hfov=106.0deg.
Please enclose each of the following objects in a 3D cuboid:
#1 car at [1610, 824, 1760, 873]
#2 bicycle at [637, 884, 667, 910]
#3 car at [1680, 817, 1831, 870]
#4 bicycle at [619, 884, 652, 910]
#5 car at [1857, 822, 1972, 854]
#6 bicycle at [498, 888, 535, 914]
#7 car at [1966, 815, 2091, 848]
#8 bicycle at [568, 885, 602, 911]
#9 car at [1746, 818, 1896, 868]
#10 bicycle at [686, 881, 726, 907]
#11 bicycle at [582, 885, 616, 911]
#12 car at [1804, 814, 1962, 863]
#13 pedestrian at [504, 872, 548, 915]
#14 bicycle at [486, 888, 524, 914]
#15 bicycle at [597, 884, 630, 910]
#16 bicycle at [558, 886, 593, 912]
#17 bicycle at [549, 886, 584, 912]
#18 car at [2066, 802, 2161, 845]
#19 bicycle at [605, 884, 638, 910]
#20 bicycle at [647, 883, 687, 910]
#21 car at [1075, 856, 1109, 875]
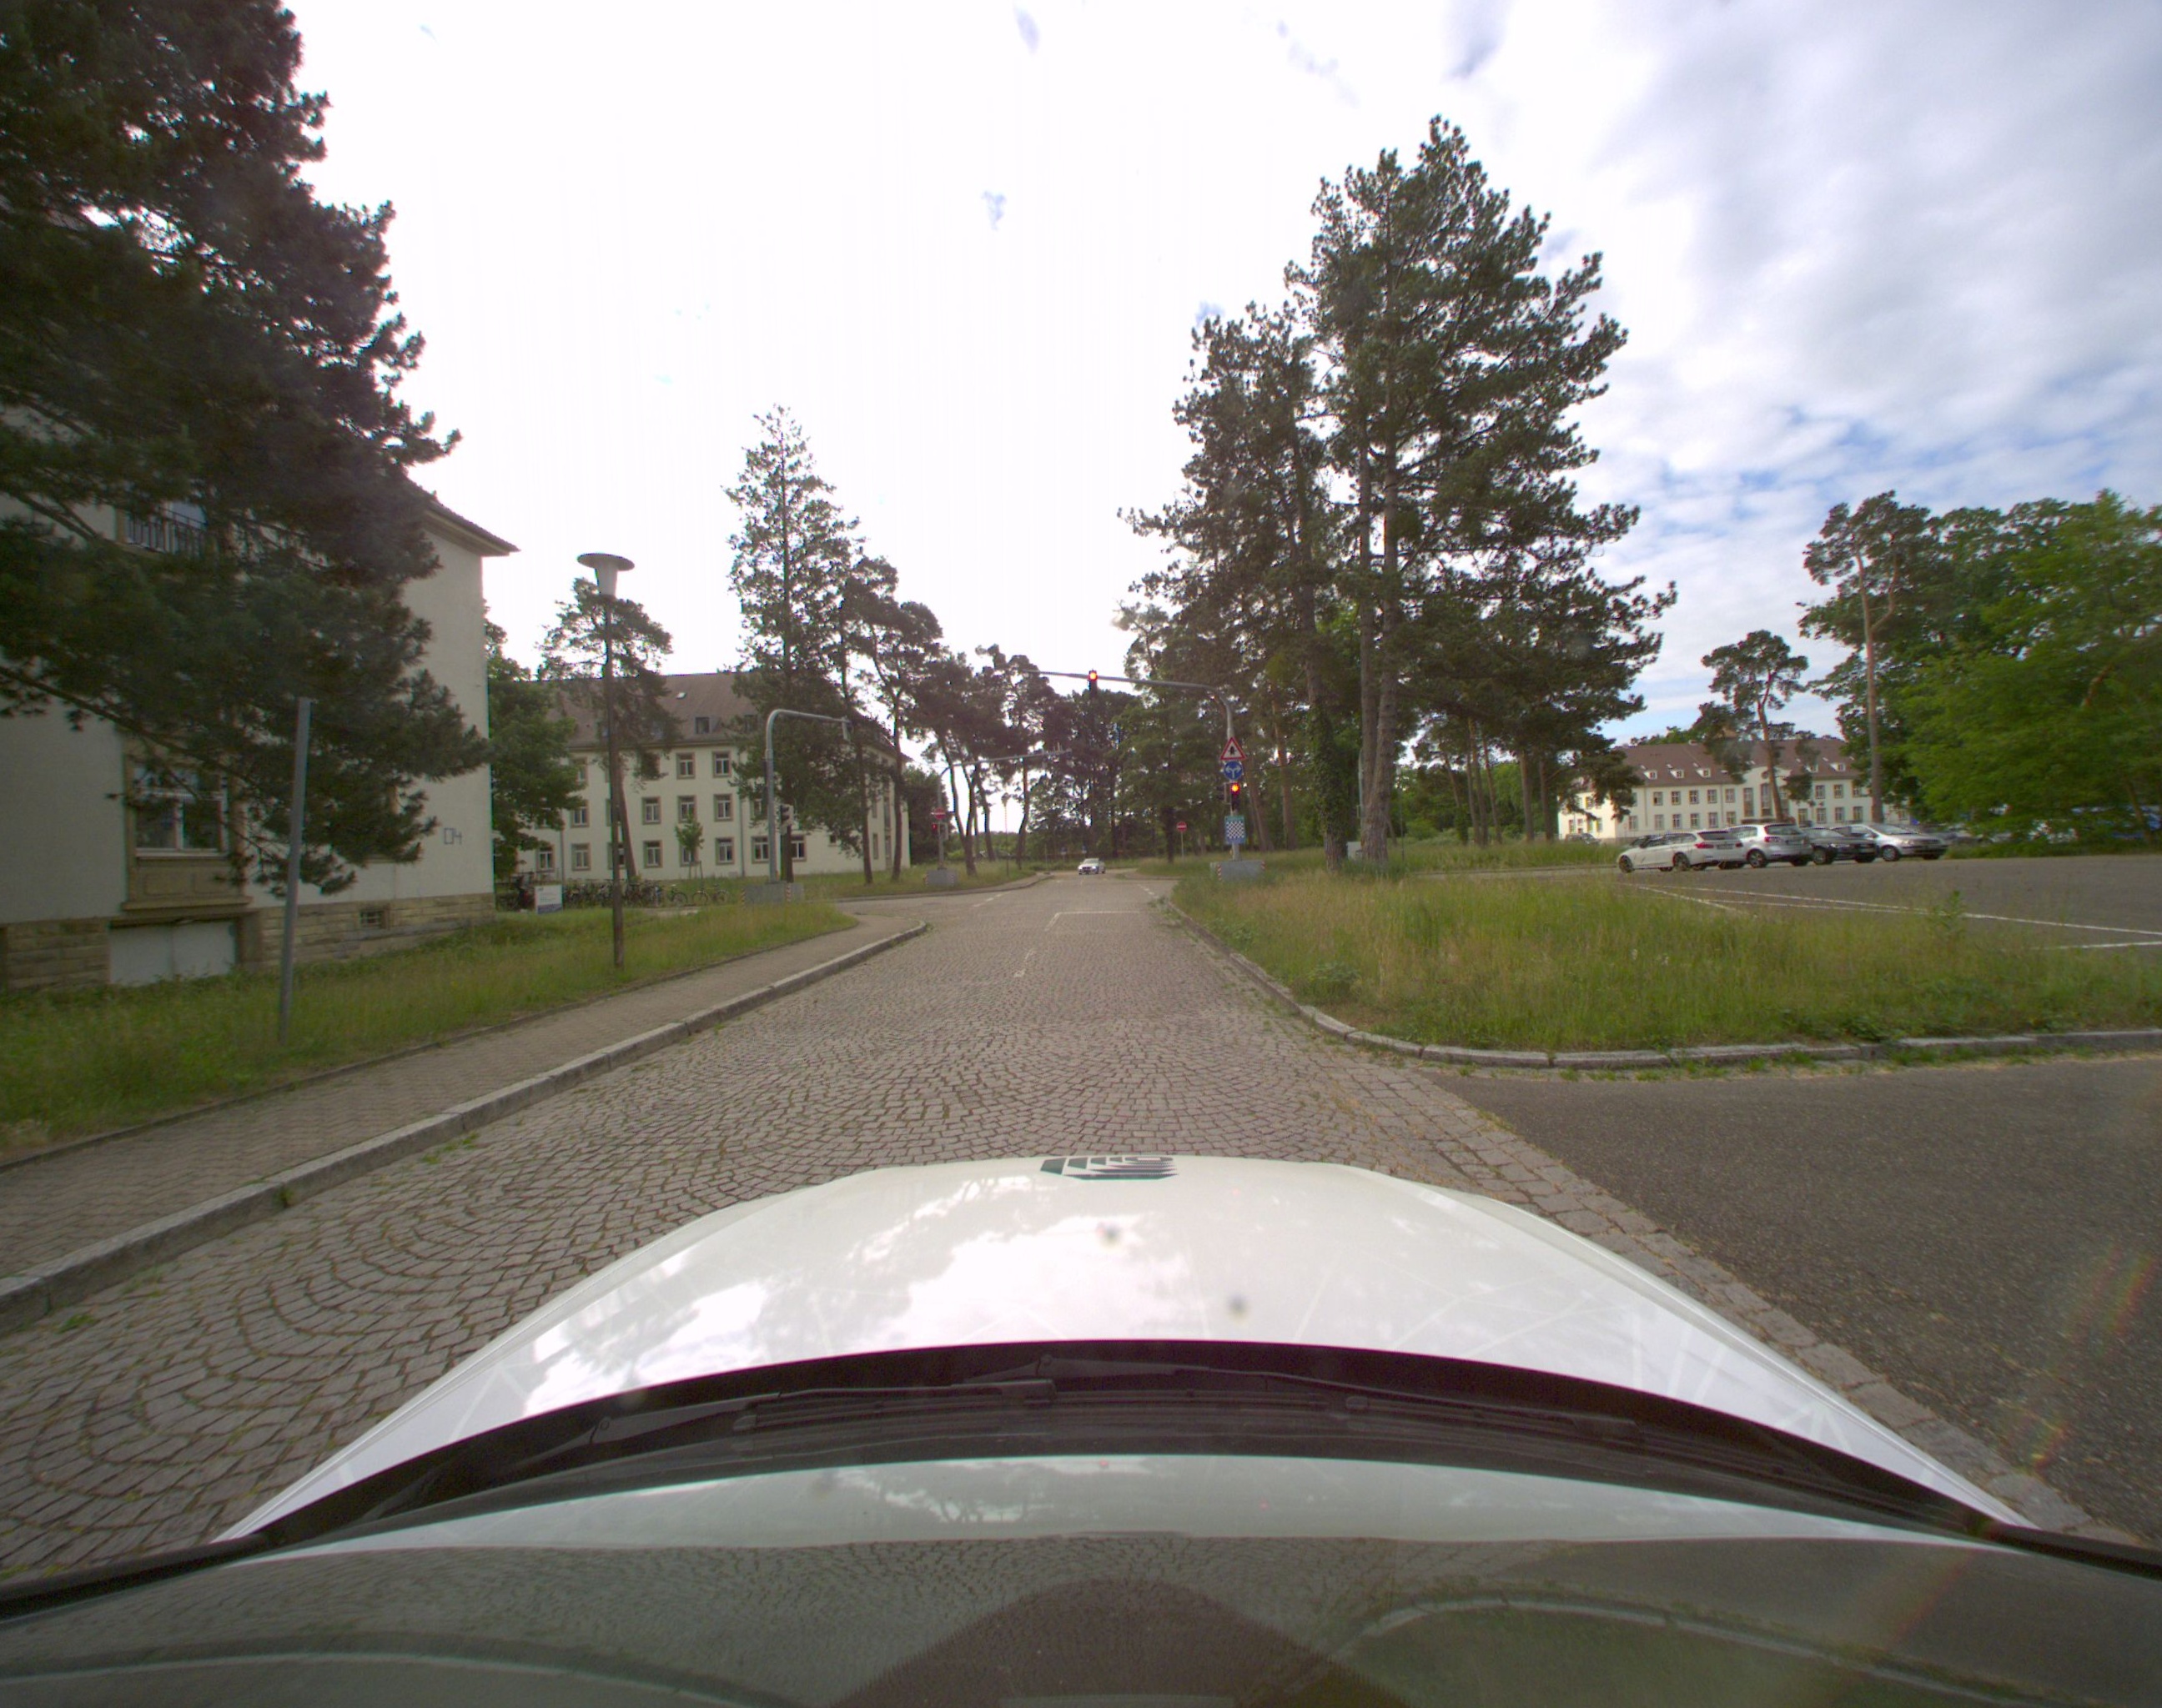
[{"bbox_3d":[21.623,-0.147,29.431,1.843,1.487,4.605,-1,-3,-2],"label":"car"},{"bbox_3d":[-19.550,1.930,37.111,0.513,1.079,1.584,-3,0,-2],"label":"bicycle"},{"bbox_3d":[24.258,-0.317,29.532,1.777,1.605,4.239,-2,-3,-2],"label":"car"},{"bbox_3d":[-20.229,1.940,37.024,0.512,1.079,1.587,-3,0,4],"label":"bicycle"},{"bbox_3d":[41.634,-0.773,40.843,1.725,1.472,4.251,-2,0,7],"label":"car"},{"bbox_3d":[-25.704,2.115,37.086,0.512,1.079,1.586,-3,0,1],"label":"bicycle"},{"bbox_3d":[47.290,-1.084,40.804,1.608,1.501,4.251,-2,0,7],"label":"car"},{"bbox_3d":[-22.545,2.009,37.059,0.512,1.079,1.586,-3,0,1],"label":"bicycle"},{"bbox_3d":[26.889,-0.339,29.817,1.694,1.485,4.245,-3,-3,2],"label":"car"},{"bbox_3d":[-16.522,1.767,35.887,1.460,1.065,0.516,-3,-1,-1],"label":"bicycle"},{"bbox_3d":[-21.923,1.977,37.079,0.512,1.079,1.586,-3,0,1],"label":"bicycle"},{"bbox_3d":[29.628,-0.512,30.293,1.694,1.485,4.245,-3,-3,2],"label":"car"},{"bbox_3d":[-24.799,1.754,36.399,1.050,1.788,1.165,-2,1,29],"label":"pedestrian"},{"bbox_3d":[-26.205,2.123,37.077,0.512,1.079,1.586,-3,0,1],"label":"bicycle"},{"bbox_3d":[-21.292,1.957,37.125,0.512,1.079,1.586,-3,0,1],"label":"bicycle"},{"bbox_3d":[-22.996,2.019,37.054,0.512,1.079,1.586,-3,0,1],"label":"bicycle"},{"bbox_3d":[-23.380,2.055,37.047,0.512,1.079,1.586,-3,0,1],"label":"bicycle"},{"bbox_3d":[52.707,-1.525,40.318,2.127,2.026,4.795,-2,0,3],"label":"car"},{"bbox_3d":[-20.931,1.951,37.119,0.512,1.079,1.586,-3,0,1],"label":"bicycle"},{"bbox_3d":[-18.158,1.866,35.724,1.460,1.079,0.516,-3,-1,-1],"label":"bicycle"},{"bbox_3d":[1.054,1.041,74.136,1.759,1.438,4.239,-5,0,19],"label":"car"}]
